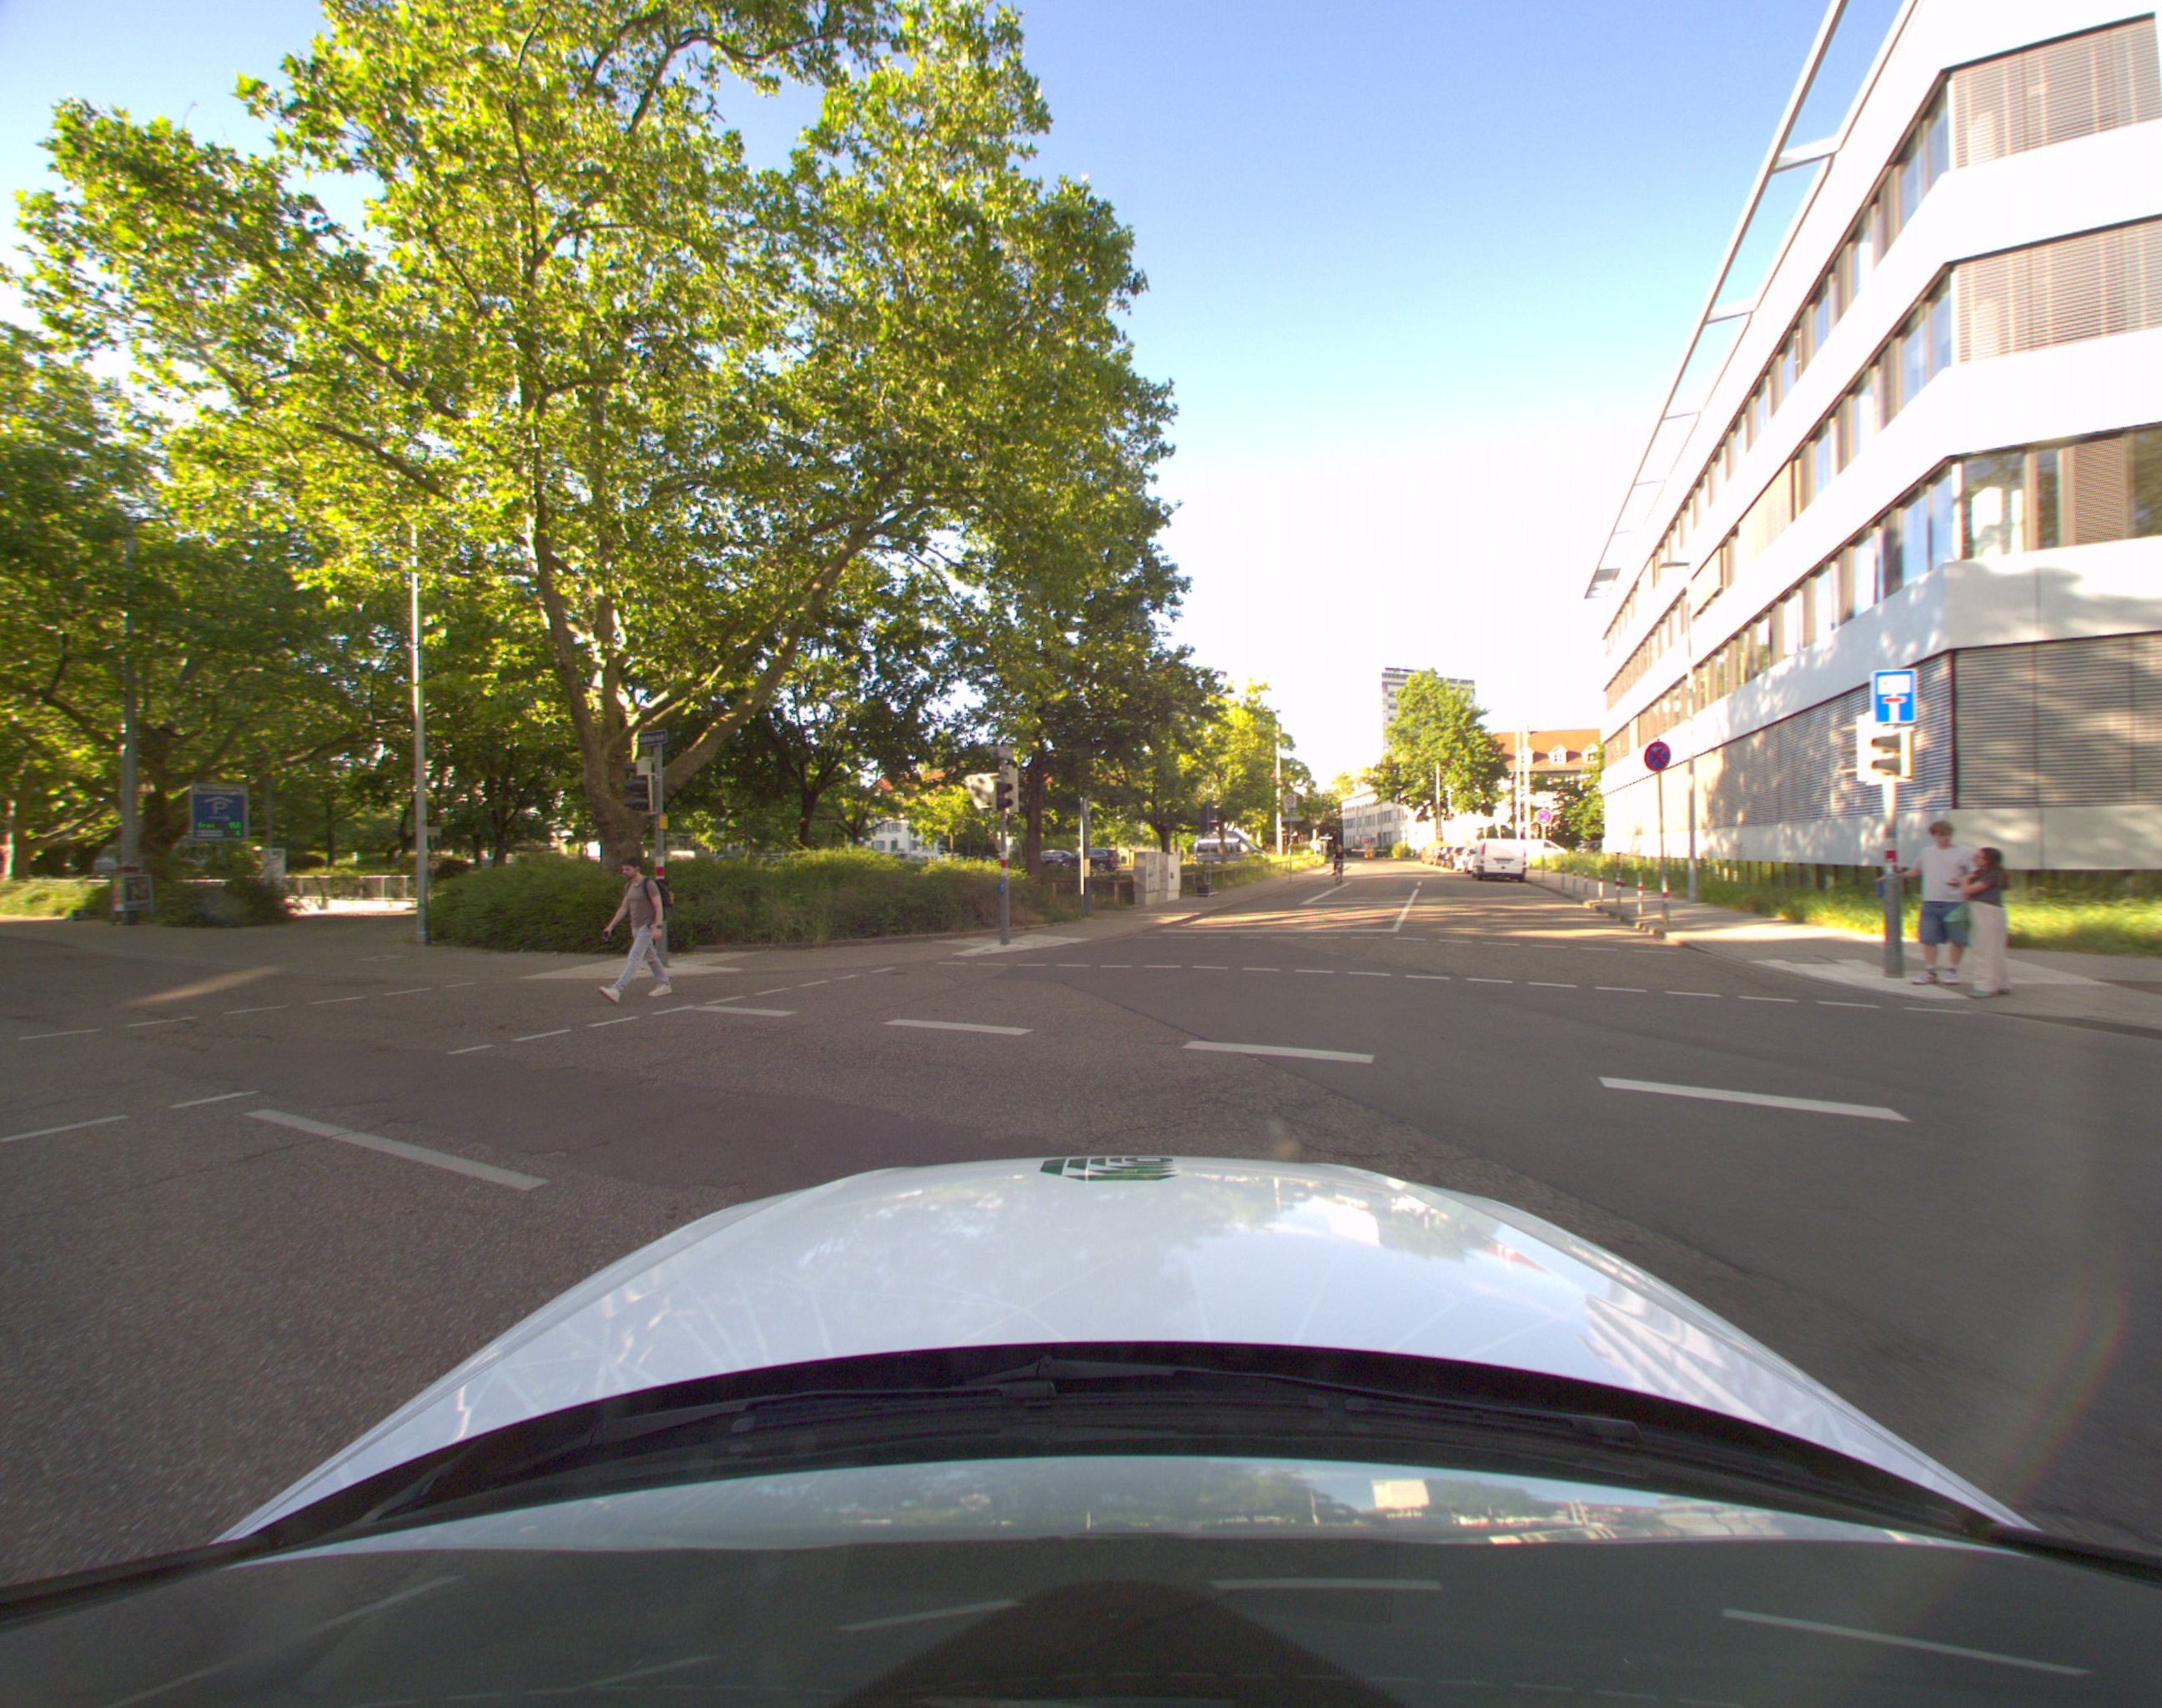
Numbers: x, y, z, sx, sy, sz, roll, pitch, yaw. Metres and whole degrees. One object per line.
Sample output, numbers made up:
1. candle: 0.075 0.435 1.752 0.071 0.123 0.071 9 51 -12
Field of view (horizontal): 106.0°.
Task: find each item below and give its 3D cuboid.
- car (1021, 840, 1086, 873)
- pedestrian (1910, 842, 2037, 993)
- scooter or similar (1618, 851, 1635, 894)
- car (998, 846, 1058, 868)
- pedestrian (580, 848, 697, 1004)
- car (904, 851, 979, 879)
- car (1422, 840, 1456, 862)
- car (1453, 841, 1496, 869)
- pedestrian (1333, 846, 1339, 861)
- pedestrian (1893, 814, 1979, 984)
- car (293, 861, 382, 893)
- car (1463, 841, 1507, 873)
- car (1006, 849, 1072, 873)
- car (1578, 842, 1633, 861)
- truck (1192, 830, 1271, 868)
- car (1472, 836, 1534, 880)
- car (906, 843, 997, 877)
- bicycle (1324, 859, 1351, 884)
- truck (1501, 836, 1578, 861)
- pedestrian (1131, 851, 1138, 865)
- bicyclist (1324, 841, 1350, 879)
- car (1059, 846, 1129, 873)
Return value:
1. car: -2.161 0.200 63.778 4.514 2.391 2.086 -2 -1 24
2. pedestrian: 9.531 0.658 8.724 0.555 1.540 0.679 -4 -1 14
3. scooter or similar: 18.914 0.623 28.246 0.327 1.424 1.343 1 0 27
4. car: -4.503 0.301 69.134 4.514 1.730 2.086 -2 -1 24
5. pedestrian: -5.194 0.802 9.593 0.696 1.723 0.961 -2 -1 29
6. car: -9.423 0.744 54.901 4.514 1.730 2.086 -2 -1 24
7. car: 28.931 -0.269 65.952 1.875 1.655 4.433 0 1 14
8. car: 23.557 0.016 48.863 1.873 1.555 4.437 0 1 19
9. pedestrian: 27.994 -0.081 89.438 0.541 1.677 0.478 -1 0 16
10. pedestrian: 9.765 0.493 9.298 0.681 1.851 0.554 -3 -1 -42
11. car: -42.643 1.314 46.729 4.514 1.730 2.086 -2 -1 24
12. car: 21.611 0.104 43.692 1.872 1.555 4.440 0 1 23
13. car: -3.163 0.532 61.571 4.514 1.730 2.086 -2 -1 24
14. car: 43.250 -0.195 67.249 3.529 1.546 1.564 0 0 13
15. truck: 9.923 -0.318 53.770 4.786 2.399 2.099 0 1 23
16. car: 18.576 0.135 36.024 2.067 1.795 4.440 0 1 23
17. car: -7.157 0.360 45.106 4.514 1.730 2.086 -2 -1 24
18. bicycle: 10.823 0.722 34.321 0.858 1.009 2.427 -3 -1 22
19. truck: 38.576 -0.444 68.607 5.300 2.013 2.008 0 0 13
20. pedestrian: 5.035 0.396 76.941 0.555 1.323 0.578 -1 0 6
21. bicyclist: 10.732 0.243 34.136 0.858 1.515 1.024 -3 -1 21
22. car: 0.941 0.397 58.008 4.514 1.730 2.086 -2 -1 24
